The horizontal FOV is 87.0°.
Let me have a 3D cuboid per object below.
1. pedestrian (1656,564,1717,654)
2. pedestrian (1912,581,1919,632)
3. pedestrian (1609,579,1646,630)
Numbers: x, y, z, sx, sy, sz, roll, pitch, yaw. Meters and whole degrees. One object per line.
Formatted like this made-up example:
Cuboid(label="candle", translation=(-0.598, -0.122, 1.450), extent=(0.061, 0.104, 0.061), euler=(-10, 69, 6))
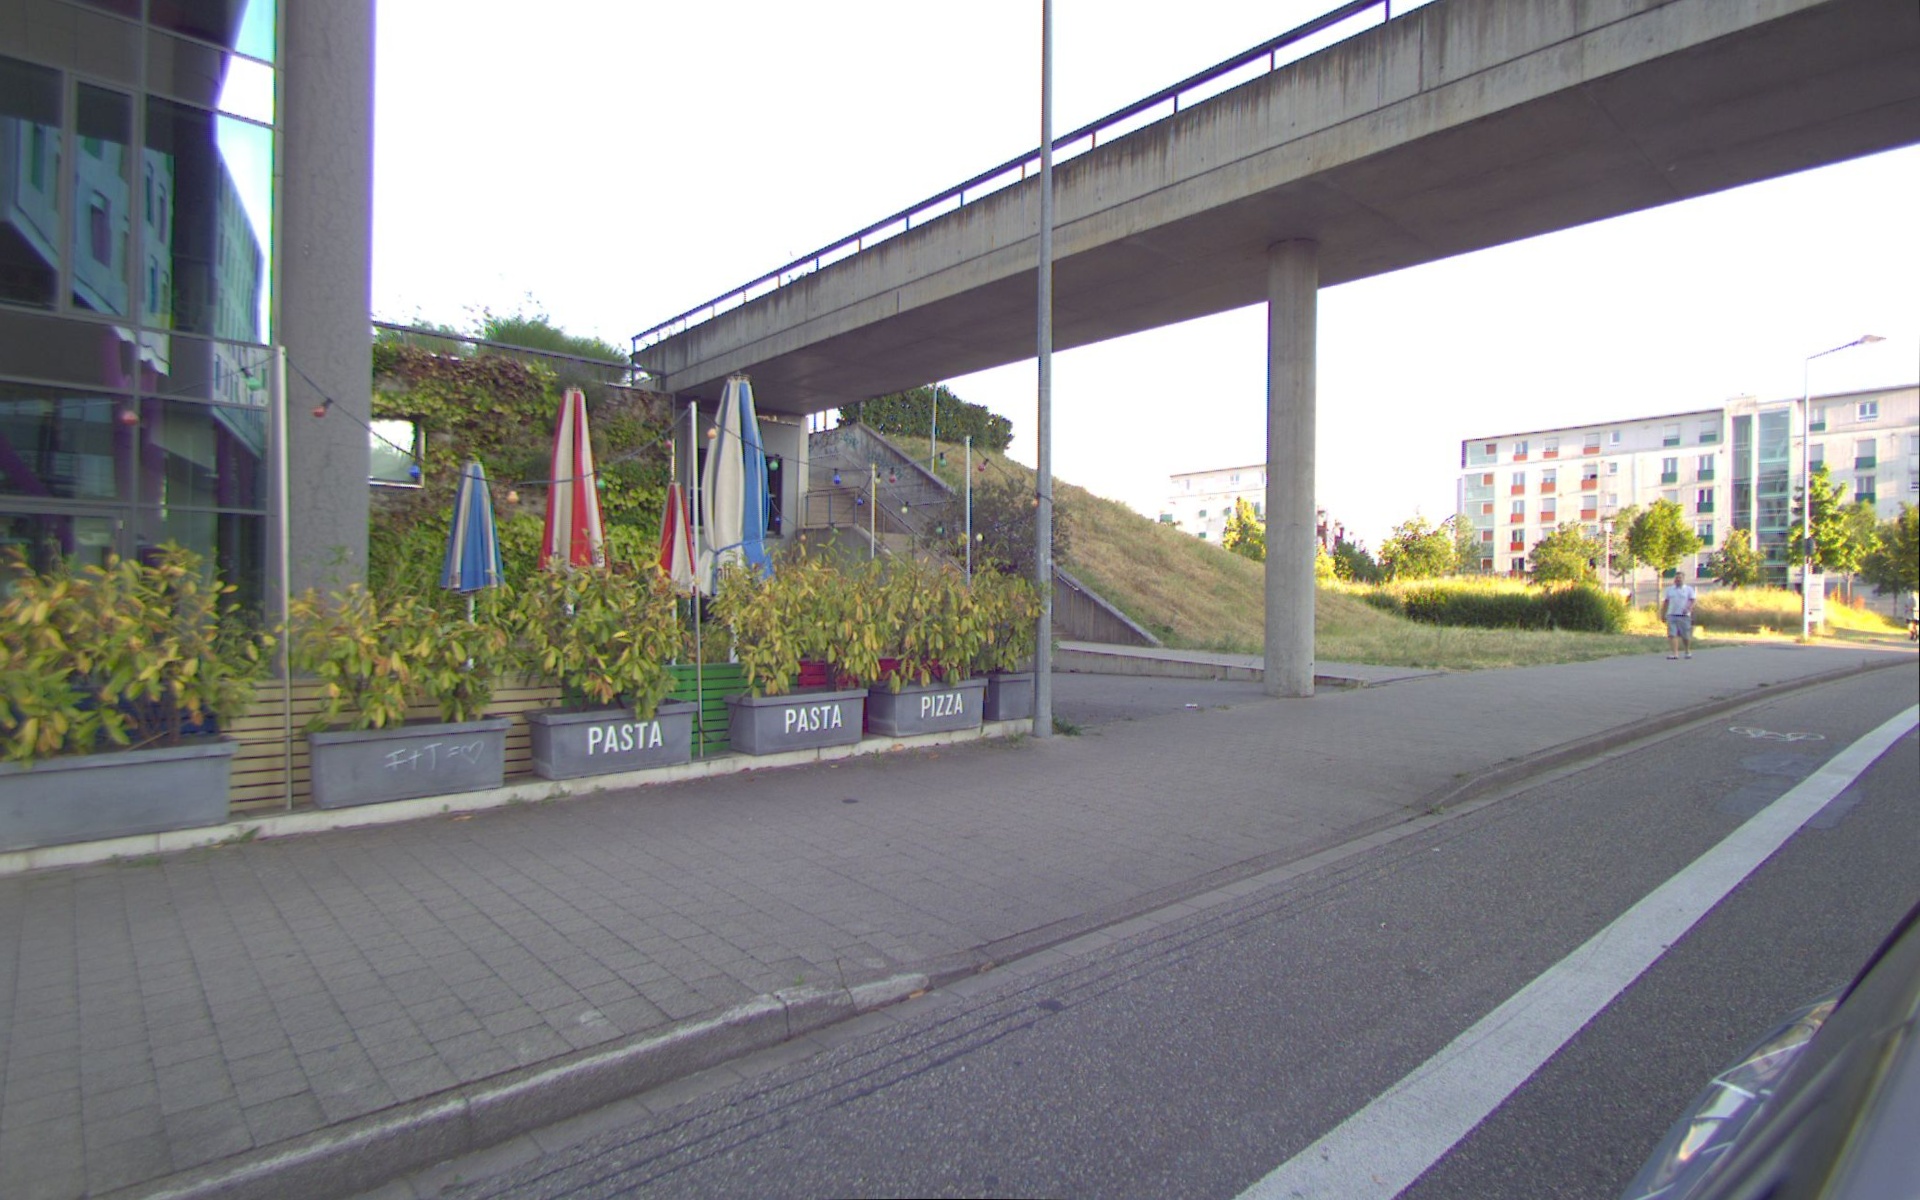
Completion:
Cuboid(label="pedestrian", translation=(14.672, 0.174, 20.435), extent=(0.890, 1.745, 0.737), euler=(1, 2, -40))
Cuboid(label="pedestrian", translation=(33.055, 0.228, 34.500), extent=(0.523, 1.745, 0.737), euler=(1, 2, -40))
Cuboid(label="pedestrian", translation=(22.022, 0.147, 33.388), extent=(0.844, 1.650, 0.737), euler=(1, 2, -39))
